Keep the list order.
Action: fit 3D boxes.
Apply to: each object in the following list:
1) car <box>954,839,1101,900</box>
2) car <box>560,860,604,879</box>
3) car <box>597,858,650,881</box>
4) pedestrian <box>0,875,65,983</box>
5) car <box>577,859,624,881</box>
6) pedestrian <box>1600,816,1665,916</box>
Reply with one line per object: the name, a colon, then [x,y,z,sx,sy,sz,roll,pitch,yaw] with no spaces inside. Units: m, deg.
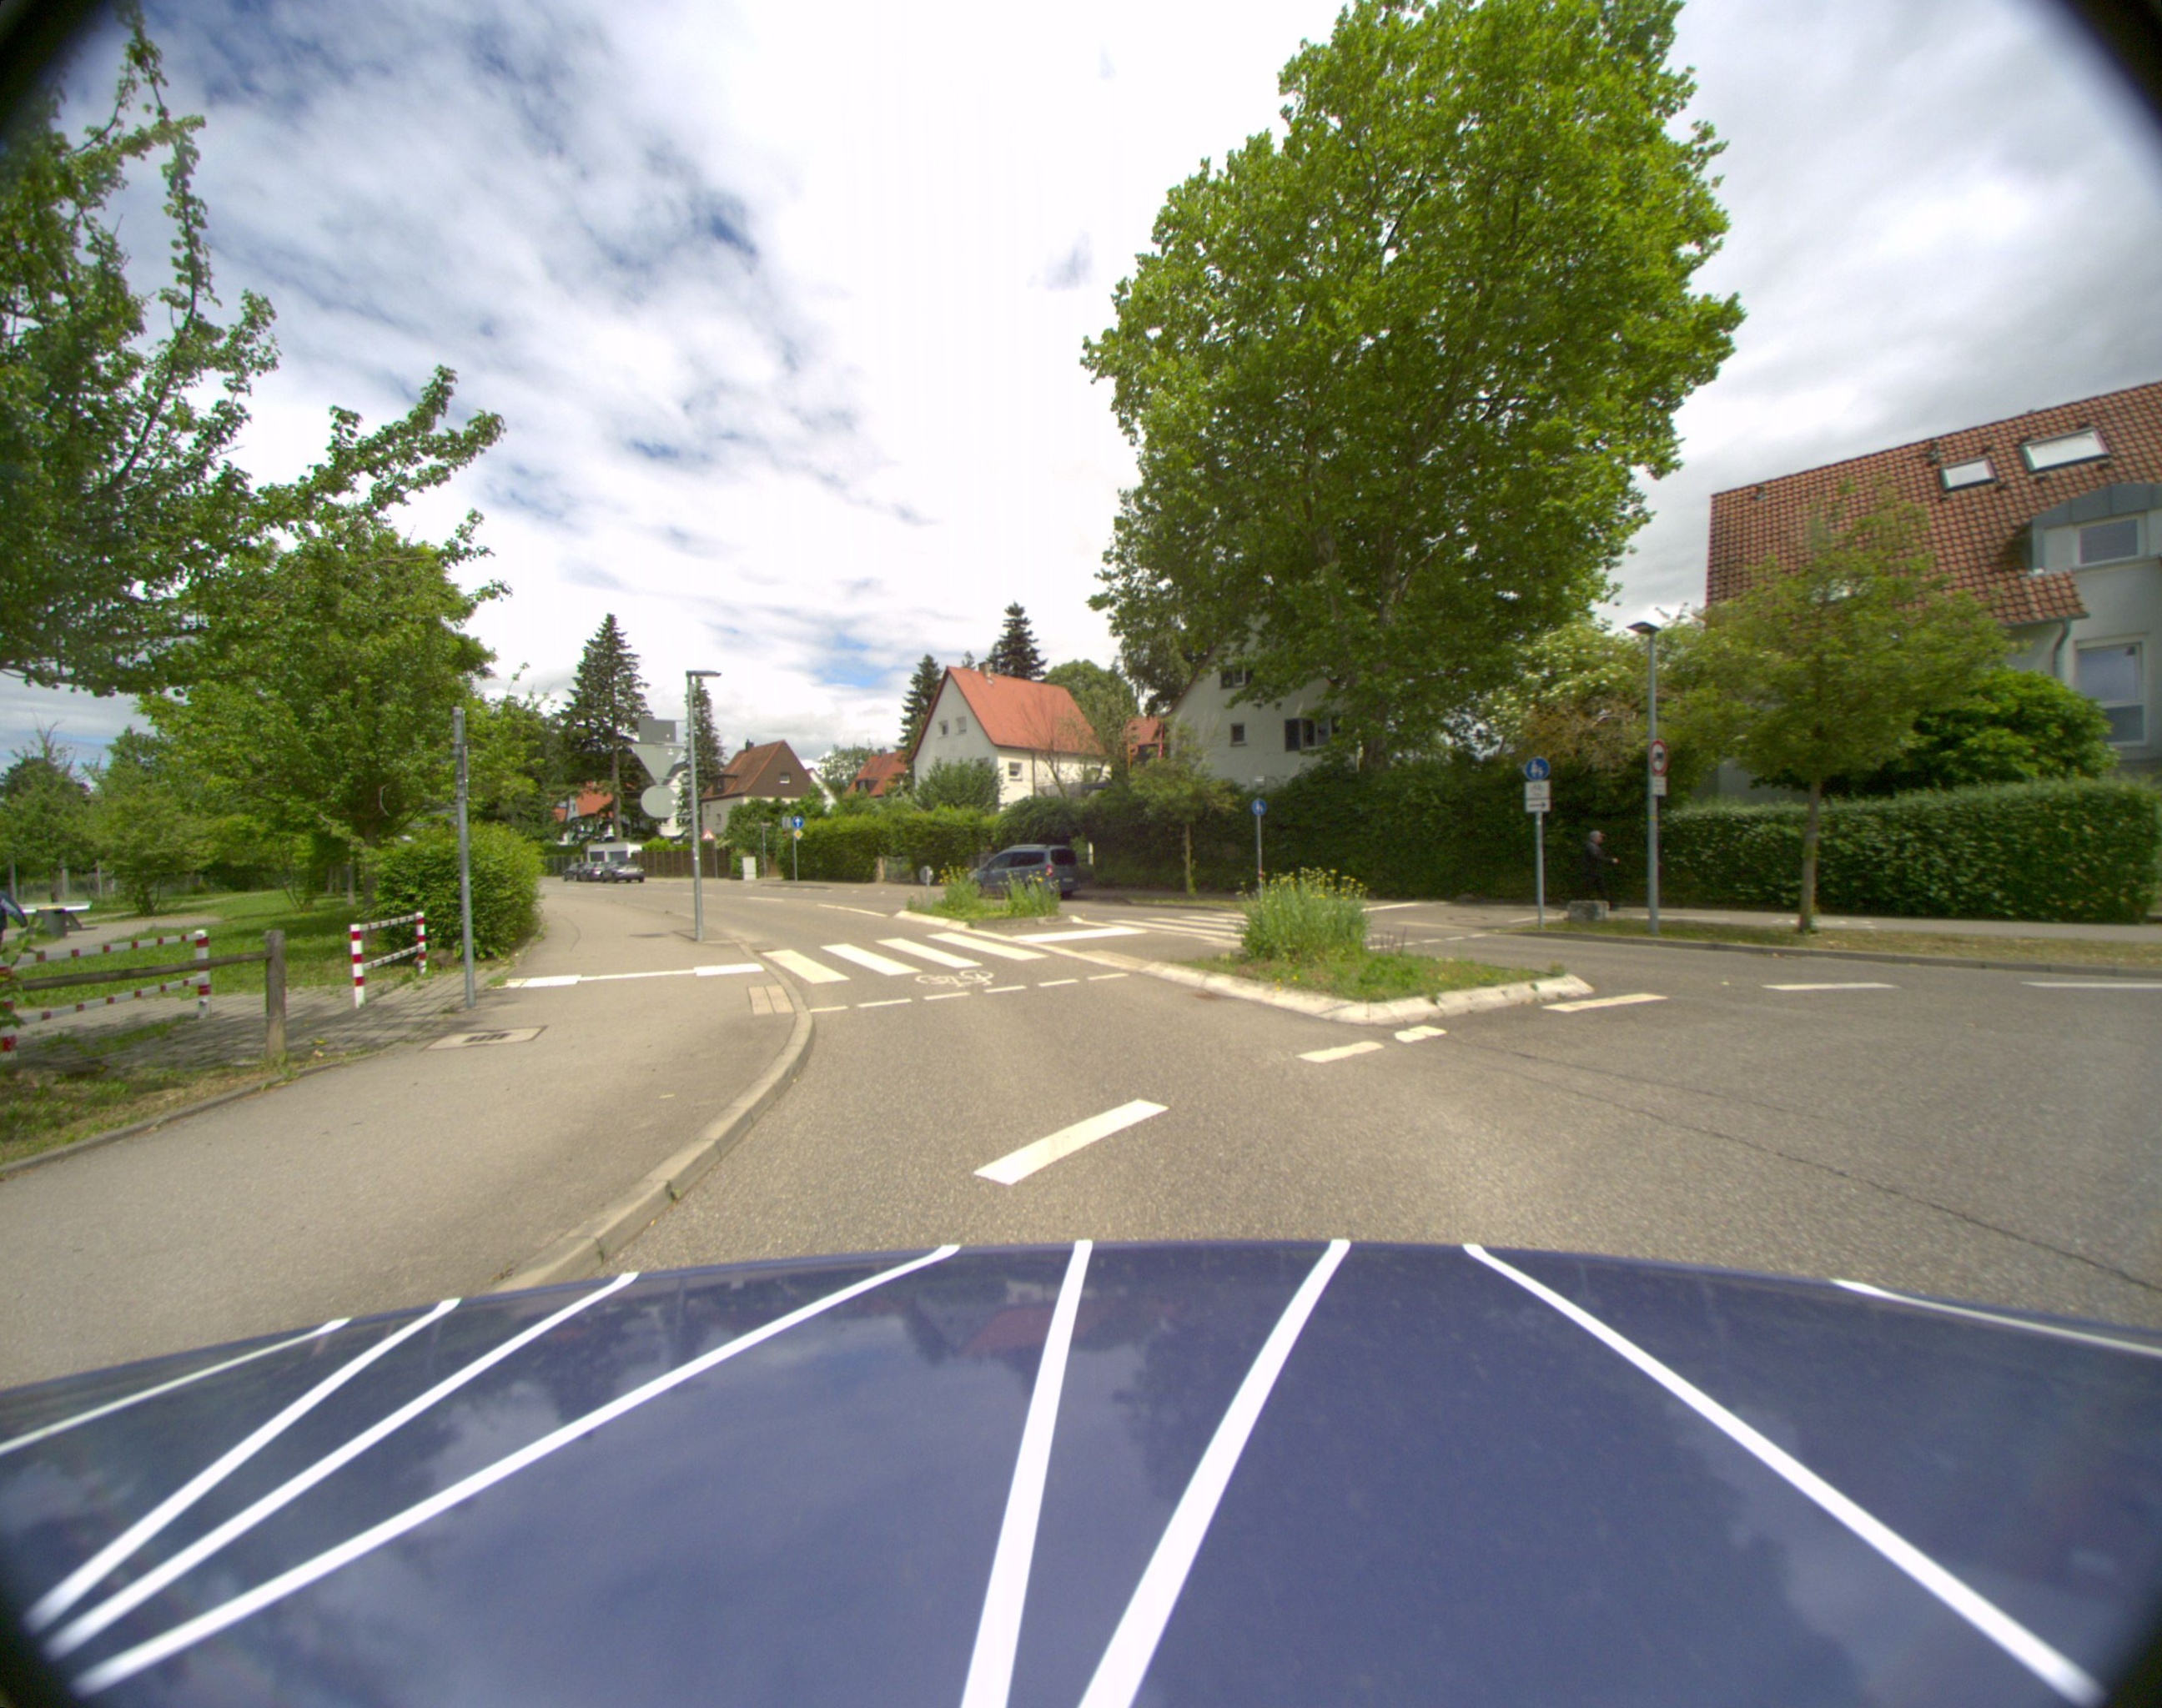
car: [-1.824,0.513,25.298,4.452,1.763,2.142,-1,3,36]
car: [-38.441,1.196,58.503,3.895,1.418,1.660,-2,0,40]
car: [-30.924,1.034,51.296,2.004,1.471,4.633,-1,1,-44]
pedestrian: [-17.546,1.221,12.427,0.929,1.684,0.896,-1,3,31]
car: [-34.832,1.109,54.979,4.476,1.451,1.877,-1,2,45]
pedestrian: [11.521,0.237,15.867,1.038,2.002,0.876,0,1,39]
